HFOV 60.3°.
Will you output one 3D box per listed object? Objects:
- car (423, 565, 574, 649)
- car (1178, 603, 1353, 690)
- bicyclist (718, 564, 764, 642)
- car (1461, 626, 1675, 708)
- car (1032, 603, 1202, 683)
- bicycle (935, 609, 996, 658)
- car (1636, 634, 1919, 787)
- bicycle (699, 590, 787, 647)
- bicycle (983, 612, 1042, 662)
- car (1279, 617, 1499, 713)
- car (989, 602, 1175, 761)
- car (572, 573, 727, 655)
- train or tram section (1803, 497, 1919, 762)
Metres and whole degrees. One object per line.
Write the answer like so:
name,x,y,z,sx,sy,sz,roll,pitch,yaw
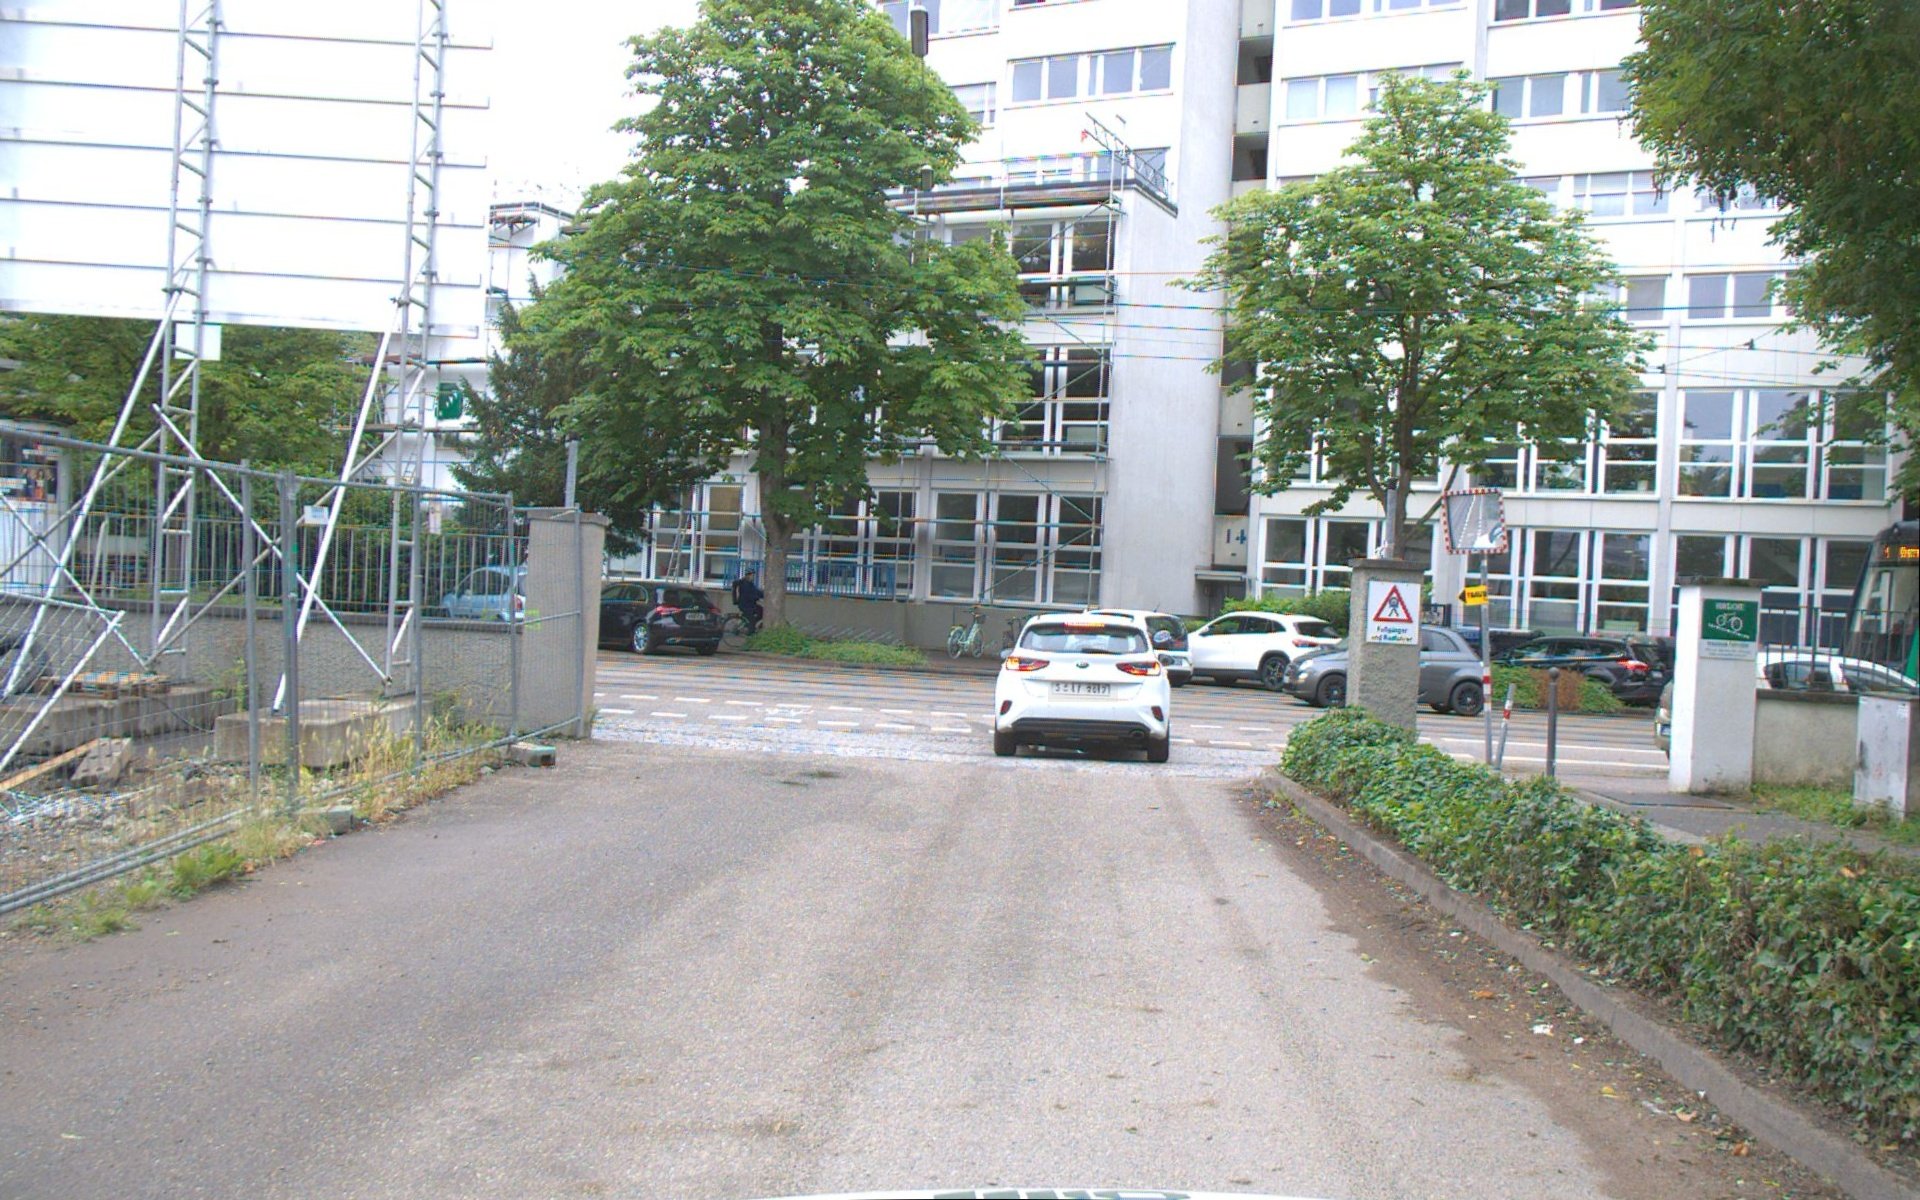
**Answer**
car,-9.491,0.125,33.942,1.606,1.564,3.284,2,0,-43
car,6.357,0.942,34.631,1.542,1.646,3.358,3,0,-40
bicyclist,-5.036,0.067,38.033,0.876,1.727,0.834,3,0,-1
car,12.783,1.379,34.892,3.887,1.499,1.662,2,0,44
car,3.217,0.879,34.319,1.542,1.499,3.358,3,0,-40
bicycle,0.154,0.811,40.836,0.631,1.093,2.311,3,2,23
car,9.898,1.258,19.037,3.508,1.527,1.666,3,0,1
bicycle,-4.977,0.426,38.032,1.870,1.194,0.821,3,0,0
bicycle,1.291,0.892,40.312,0.631,1.093,2.311,3,2,23
car,7.303,1.099,28.353,3.350,1.445,1.521,2,0,0
car,1.371,0.862,17.847,1.738,1.458,3.980,2,-2,6
car,-6.438,0.273,34.132,1.606,1.537,3.284,3,0,-43
train or tram section,19.208,0.666,24.312,12.162,3.677,2.668,2,0,0
